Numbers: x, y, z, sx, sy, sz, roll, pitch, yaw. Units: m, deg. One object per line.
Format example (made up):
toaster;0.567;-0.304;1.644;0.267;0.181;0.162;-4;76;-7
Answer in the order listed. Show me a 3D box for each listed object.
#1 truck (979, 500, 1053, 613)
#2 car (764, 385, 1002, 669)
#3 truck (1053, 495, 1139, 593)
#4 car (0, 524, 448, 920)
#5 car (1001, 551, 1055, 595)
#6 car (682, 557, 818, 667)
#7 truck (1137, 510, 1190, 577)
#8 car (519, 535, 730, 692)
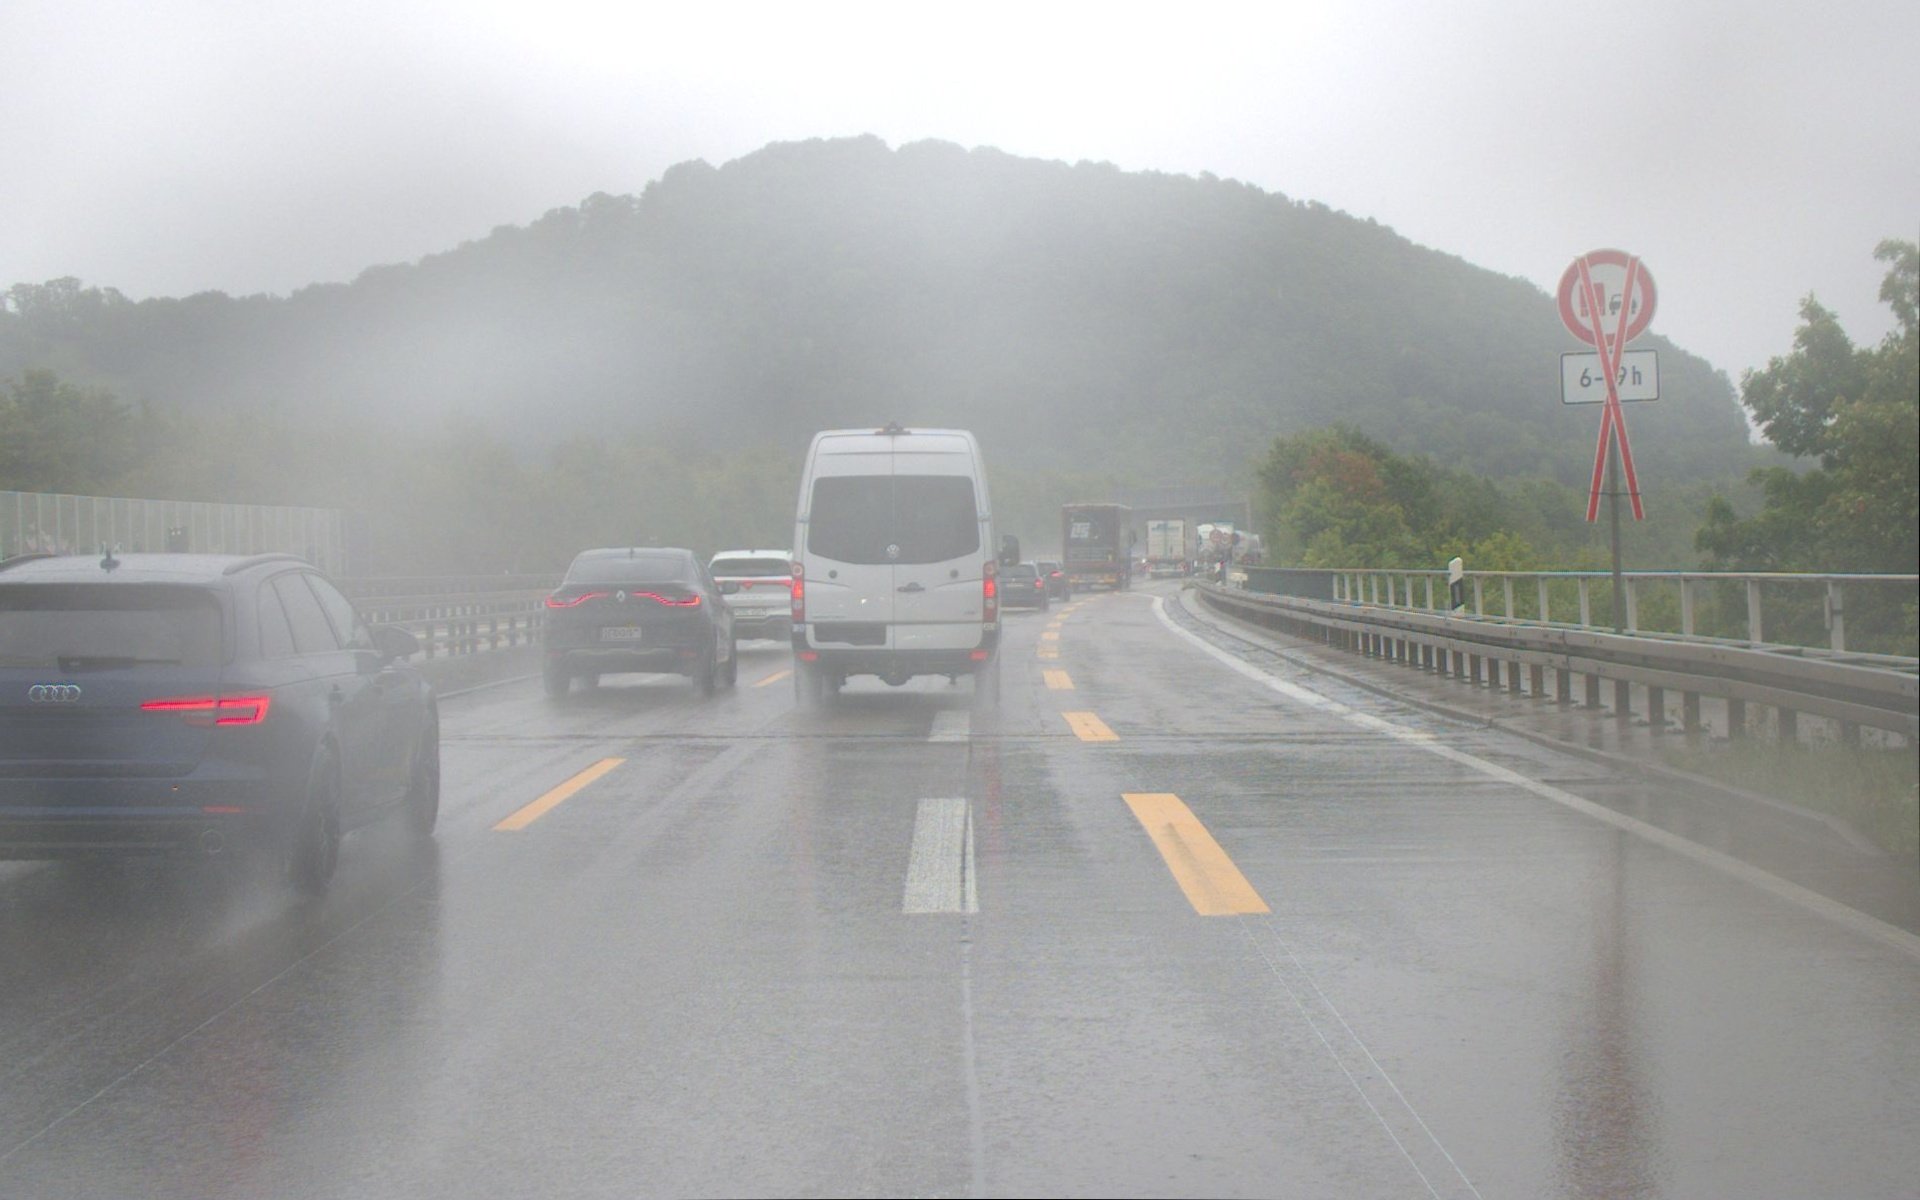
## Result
truck;1.581;-1.221;98.935;1.993;3.098;8.498;1;0;1
car;-0.710;-0.682;34.165;2.145;2.562;5.390;1;0;0
truck;6.405;-2.561;160.423;3.582;4.391;9.622;1;0;4
car;-3.569;0.448;15.388;1.993;1.492;4.631;1;0;-2
car;2.356;-0.914;118.035;1.774;1.470;4.000;1;0;2
car;-3.254;0.166;53.420;1.993;1.612;4.797;1;0;-3
truck;13.823;-3.806;232.879;3.037;4.391;9.621;1;0;6
car;-3.568;0.128;37.265;1.993;1.579;4.414;1;0;-2
